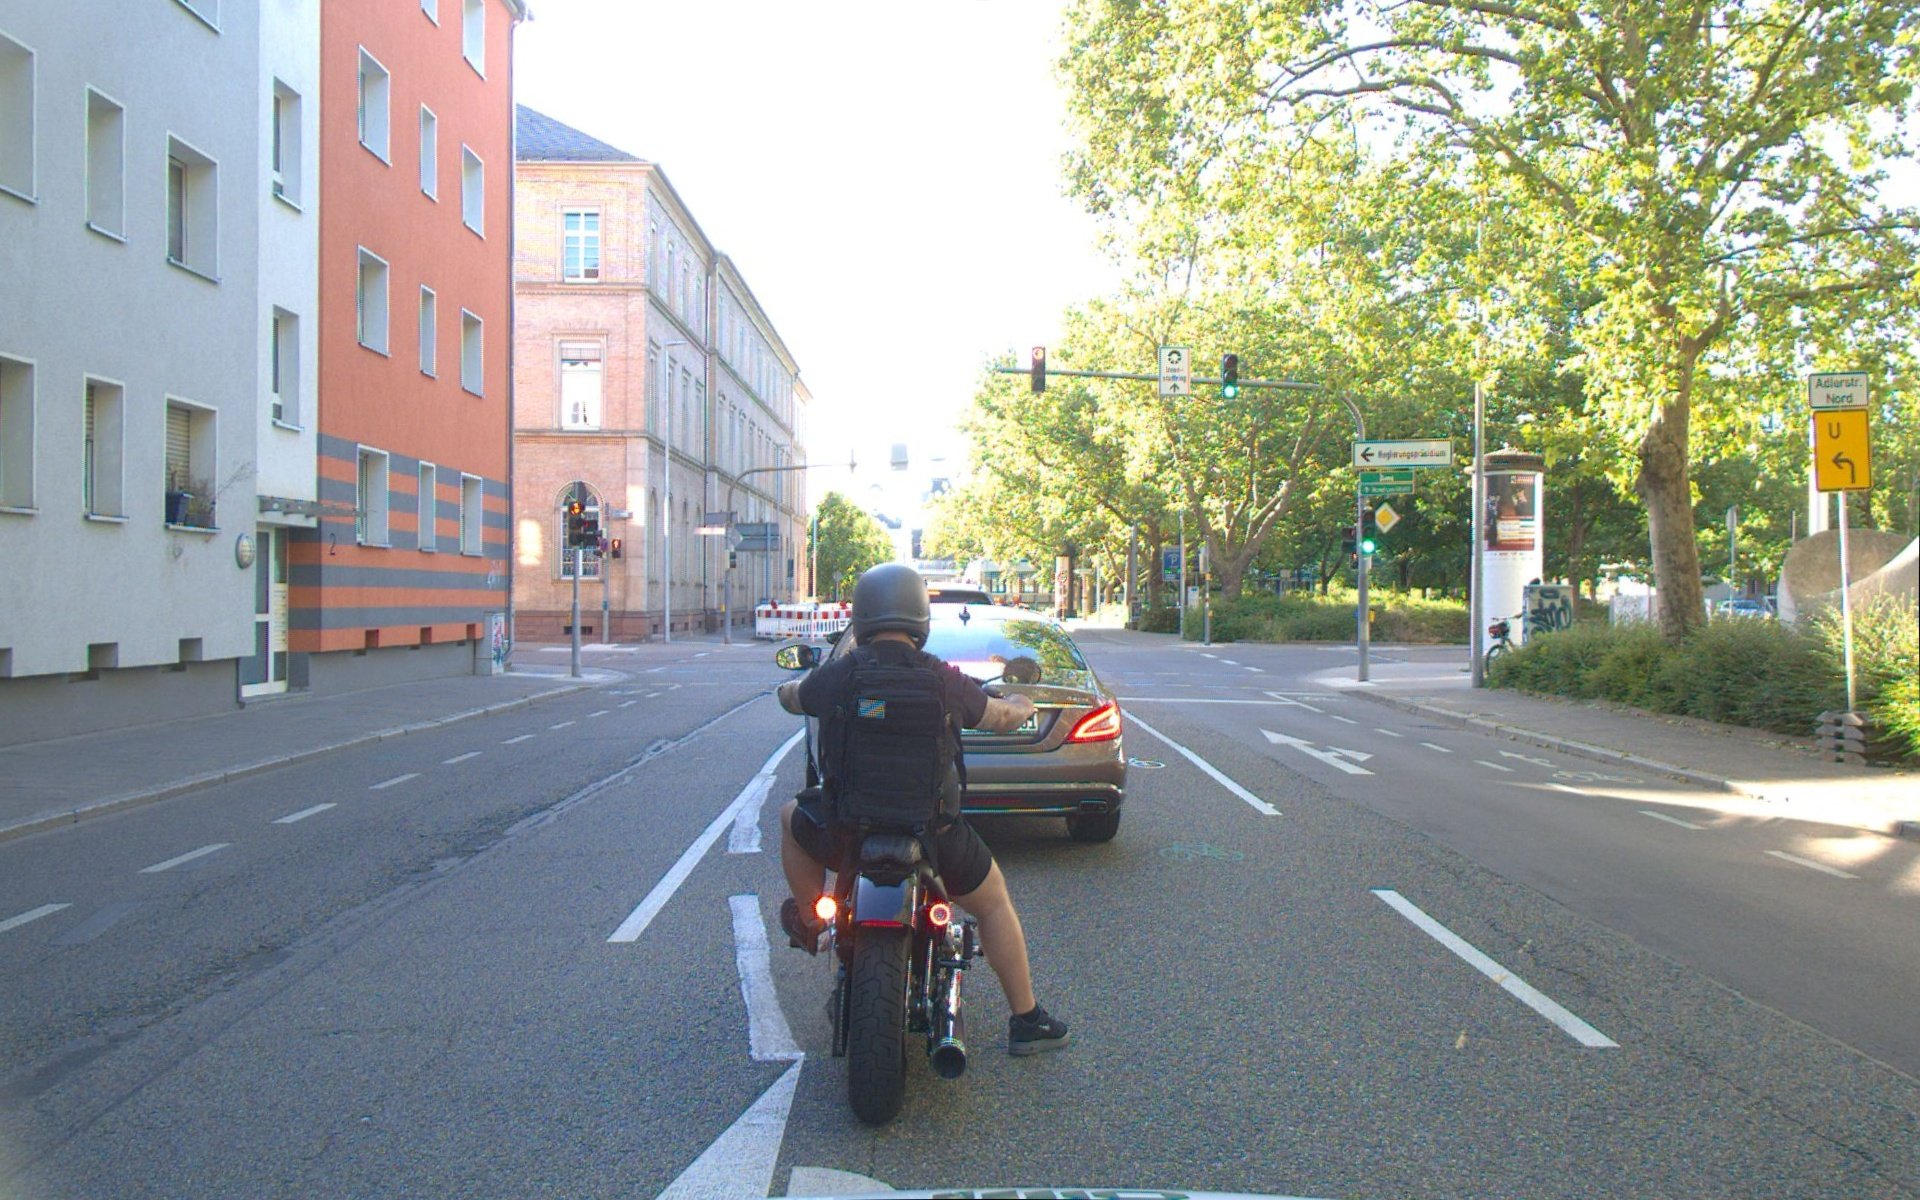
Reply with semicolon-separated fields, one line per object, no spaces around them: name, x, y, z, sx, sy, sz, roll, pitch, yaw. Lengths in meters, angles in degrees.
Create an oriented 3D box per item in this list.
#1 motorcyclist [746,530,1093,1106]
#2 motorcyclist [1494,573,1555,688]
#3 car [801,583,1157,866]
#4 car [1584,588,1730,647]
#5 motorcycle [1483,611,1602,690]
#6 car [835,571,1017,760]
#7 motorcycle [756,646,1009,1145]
motorcyclist;-0.123;0.629;5.313;0.970;1.639;1.120;1;0;-1
motorcyclist;9.484;0.506;27.821;0.805;1.896;0.672;1;-1;4
car;-0.086;0.684;11.112;1.790;1.512;4.326;1;0;-7
car;21.990;0.540;52.281;3.907;1.803;1.737;0;0;-3
motorcycle;9.775;0.838;27.810;1.743;1.265;0.723;1;0;4
car;-0.331;0.600;16.955;1.618;1.681;3.999;1;0;-1
motorcycle;-0.219;0.810;5.403;0.646;1.261;2.057;1;0;-1
